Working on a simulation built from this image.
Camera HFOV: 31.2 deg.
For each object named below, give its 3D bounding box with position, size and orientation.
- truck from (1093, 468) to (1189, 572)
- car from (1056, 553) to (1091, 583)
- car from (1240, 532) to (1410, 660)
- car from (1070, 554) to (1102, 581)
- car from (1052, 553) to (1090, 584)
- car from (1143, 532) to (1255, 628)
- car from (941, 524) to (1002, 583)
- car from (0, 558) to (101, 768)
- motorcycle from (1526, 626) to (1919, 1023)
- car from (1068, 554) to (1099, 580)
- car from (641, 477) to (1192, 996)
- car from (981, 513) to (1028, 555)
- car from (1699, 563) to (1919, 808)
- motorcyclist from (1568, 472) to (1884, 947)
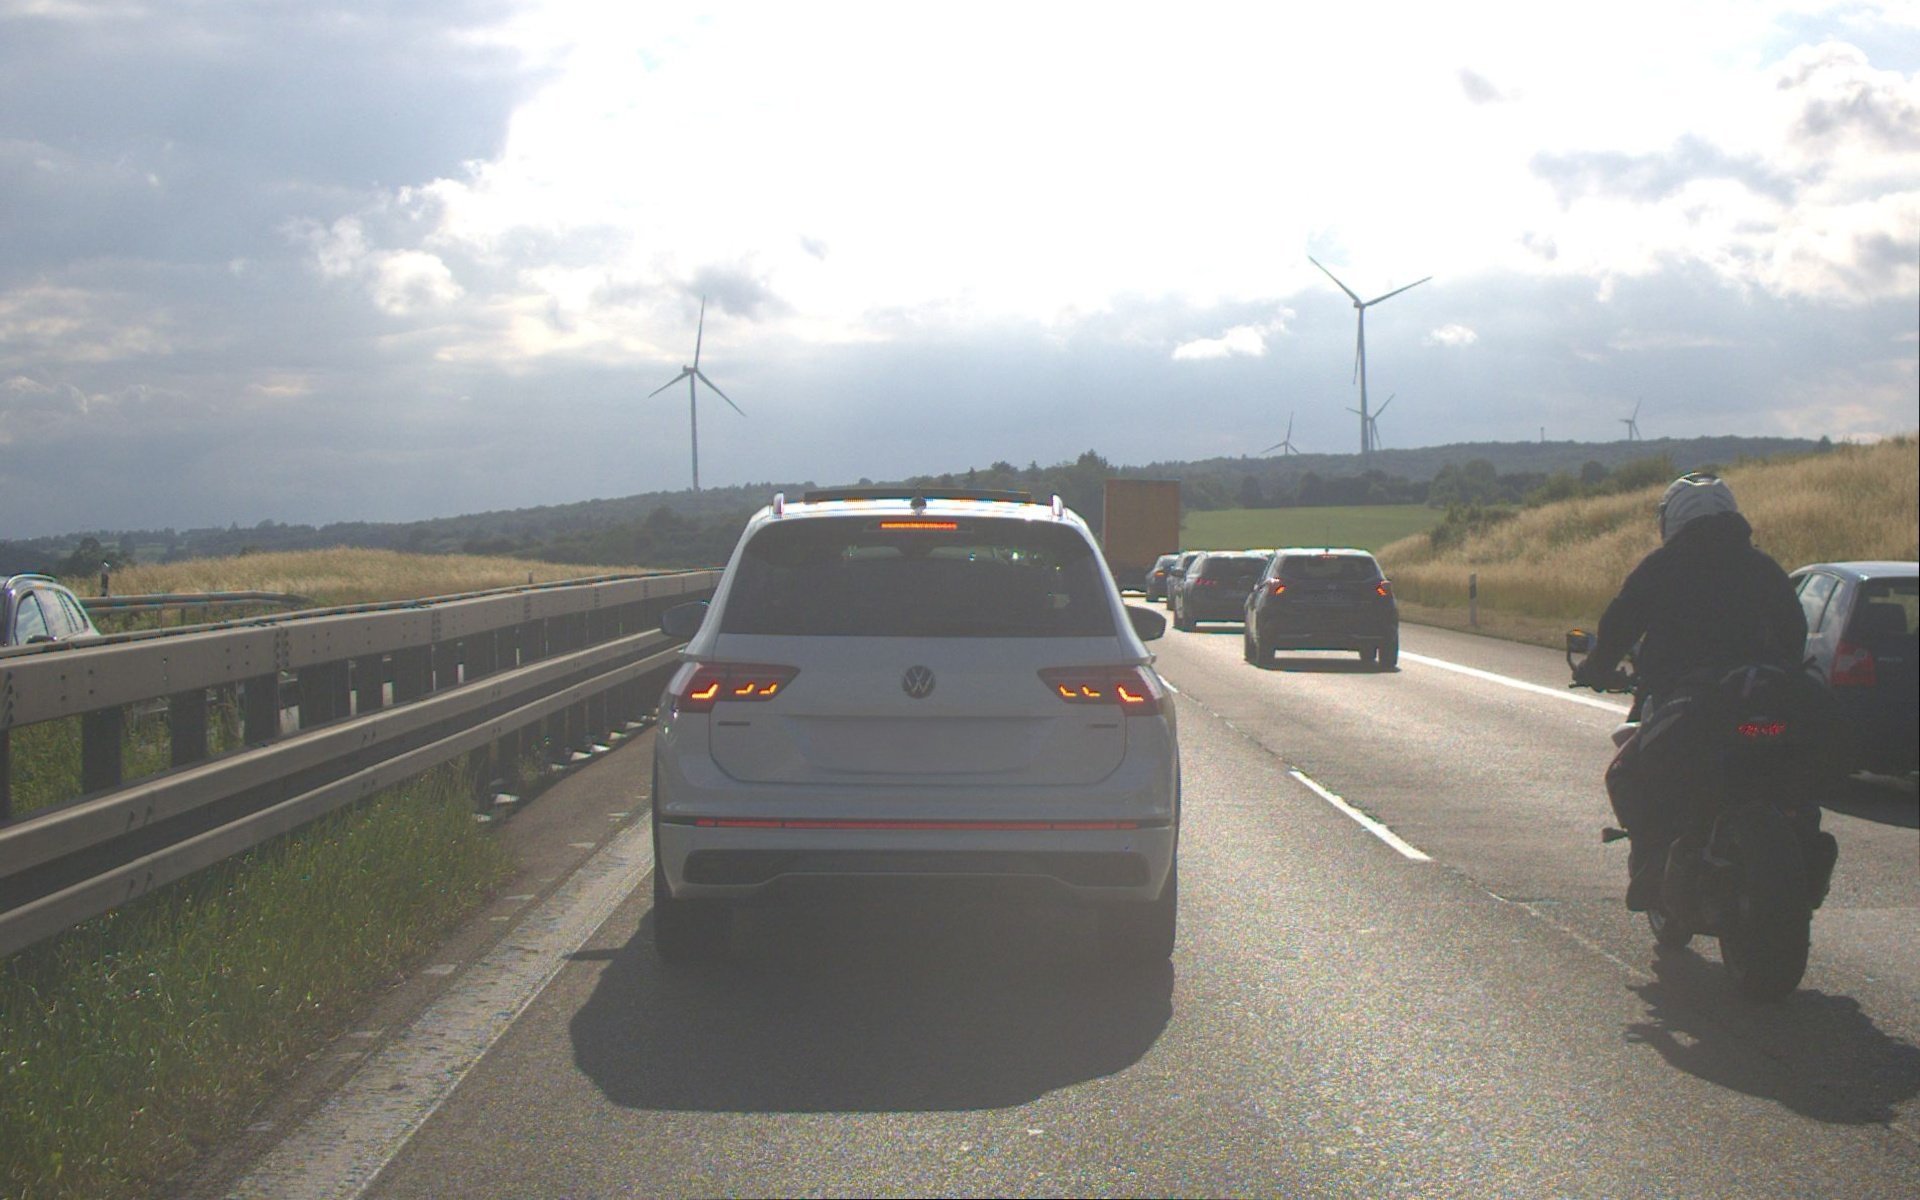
[{"bbox_3d":[6.437,-2.879,123.683,3.184,3.581,11.130,0,1,2],"label":"truck"},{"bbox_3d":[5.976,-1.686,181.071,1.704,1.540,4.000,0,1,0],"label":"car"},{"bbox_3d":[4.604,-0.074,43.811,1.704,1.540,4.000,0,1,0],"label":"car"},{"bbox_3d":[7.350,-1.927,201.498,1.704,1.540,4.000,0,1,0],"label":"car"},{"bbox_3d":[5.490,-1.563,170.702,1.704,1.540,4.000,0,1,0],"label":"car"},{"bbox_3d":[4.242,-0.374,61.449,1.704,1.644,4.000,0,1,0],"label":"car"},{"bbox_3d":[0.307,-1.331,98.540,1.704,1.644,4.000,0,1,0],"label":"car"},{"bbox_3d":[-7.702,0.440,25.621,1.597,1.510,4.160,0,1,-1],"label":"car"},{"bbox_3d":[2.591,0.706,11.787,0.895,1.186,2.257,0,1,-1],"label":"motorcycle"},{"bbox_3d":[7.481,-2.004,207.933,1.704,1.540,4.000,0,1,0],"label":"car"},{"bbox_3d":[-0.152,0.417,13.096,1.770,1.670,4.000,0,1,0],"label":"car"},{"bbox_3d":[1.650,-2.455,128.524,1.704,1.540,4.000,0,1,0],"label":"car"},{"bbox_3d":[5.846,0.479,21.739,1.606,1.415,3.672,0,1,1],"label":"car"},{"bbox_3d":[2.595,0.355,11.740,0.849,1.554,0.934,0,1,-1],"label":"motorcyclist"}]
